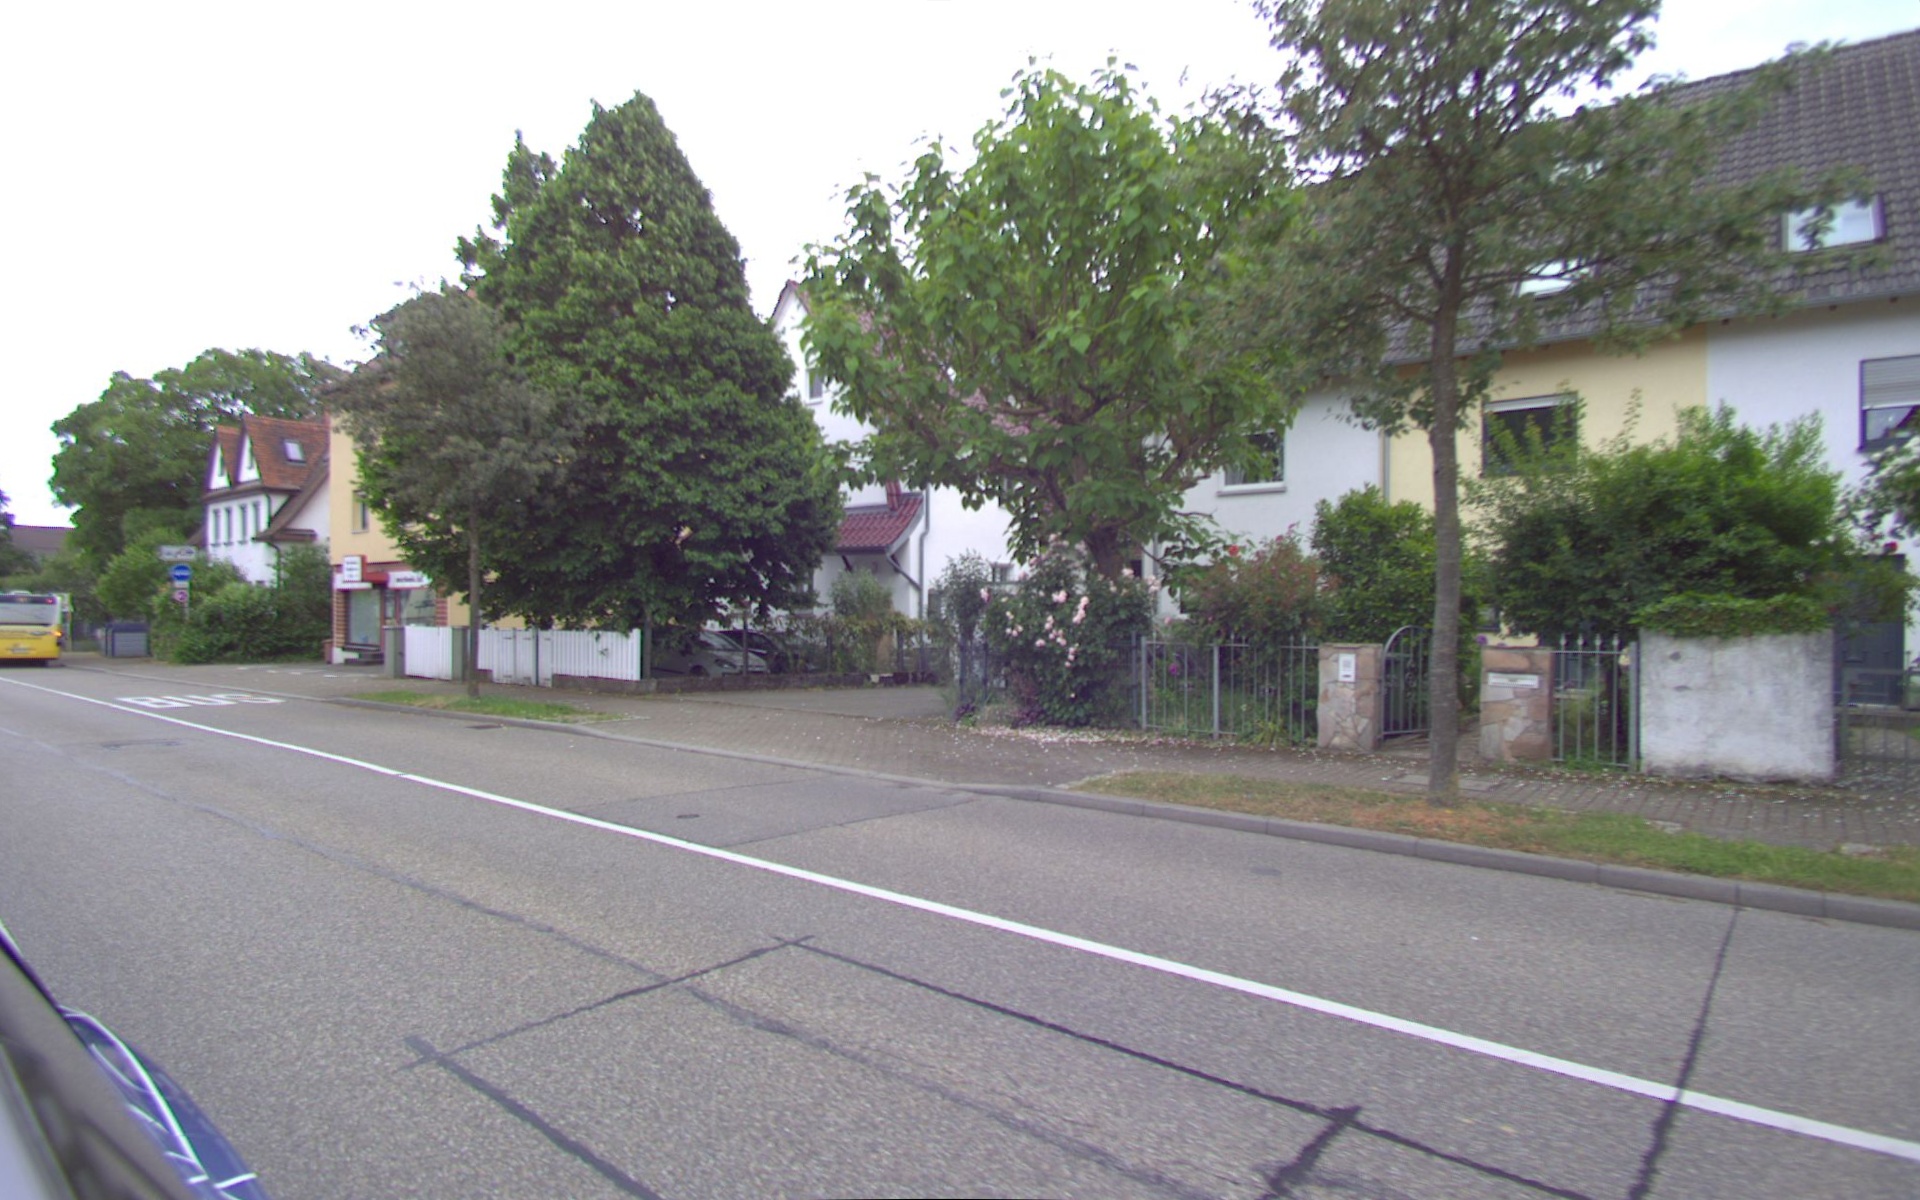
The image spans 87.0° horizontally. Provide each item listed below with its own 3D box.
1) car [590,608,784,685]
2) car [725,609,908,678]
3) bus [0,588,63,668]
[{"bbox_3d":[-6.257,1.053,22.947,4.610,1.576,1.789,-2,-3,37],"label":"car"},{"bbox_3d":[-3.640,1.139,25.235,4.610,1.576,1.789,-3,-4,37],"label":"car"},{"bbox_3d":[-41.555,1.213,43.775,12.064,3.109,2.604,-2,-3,41],"label":"bus"}]
